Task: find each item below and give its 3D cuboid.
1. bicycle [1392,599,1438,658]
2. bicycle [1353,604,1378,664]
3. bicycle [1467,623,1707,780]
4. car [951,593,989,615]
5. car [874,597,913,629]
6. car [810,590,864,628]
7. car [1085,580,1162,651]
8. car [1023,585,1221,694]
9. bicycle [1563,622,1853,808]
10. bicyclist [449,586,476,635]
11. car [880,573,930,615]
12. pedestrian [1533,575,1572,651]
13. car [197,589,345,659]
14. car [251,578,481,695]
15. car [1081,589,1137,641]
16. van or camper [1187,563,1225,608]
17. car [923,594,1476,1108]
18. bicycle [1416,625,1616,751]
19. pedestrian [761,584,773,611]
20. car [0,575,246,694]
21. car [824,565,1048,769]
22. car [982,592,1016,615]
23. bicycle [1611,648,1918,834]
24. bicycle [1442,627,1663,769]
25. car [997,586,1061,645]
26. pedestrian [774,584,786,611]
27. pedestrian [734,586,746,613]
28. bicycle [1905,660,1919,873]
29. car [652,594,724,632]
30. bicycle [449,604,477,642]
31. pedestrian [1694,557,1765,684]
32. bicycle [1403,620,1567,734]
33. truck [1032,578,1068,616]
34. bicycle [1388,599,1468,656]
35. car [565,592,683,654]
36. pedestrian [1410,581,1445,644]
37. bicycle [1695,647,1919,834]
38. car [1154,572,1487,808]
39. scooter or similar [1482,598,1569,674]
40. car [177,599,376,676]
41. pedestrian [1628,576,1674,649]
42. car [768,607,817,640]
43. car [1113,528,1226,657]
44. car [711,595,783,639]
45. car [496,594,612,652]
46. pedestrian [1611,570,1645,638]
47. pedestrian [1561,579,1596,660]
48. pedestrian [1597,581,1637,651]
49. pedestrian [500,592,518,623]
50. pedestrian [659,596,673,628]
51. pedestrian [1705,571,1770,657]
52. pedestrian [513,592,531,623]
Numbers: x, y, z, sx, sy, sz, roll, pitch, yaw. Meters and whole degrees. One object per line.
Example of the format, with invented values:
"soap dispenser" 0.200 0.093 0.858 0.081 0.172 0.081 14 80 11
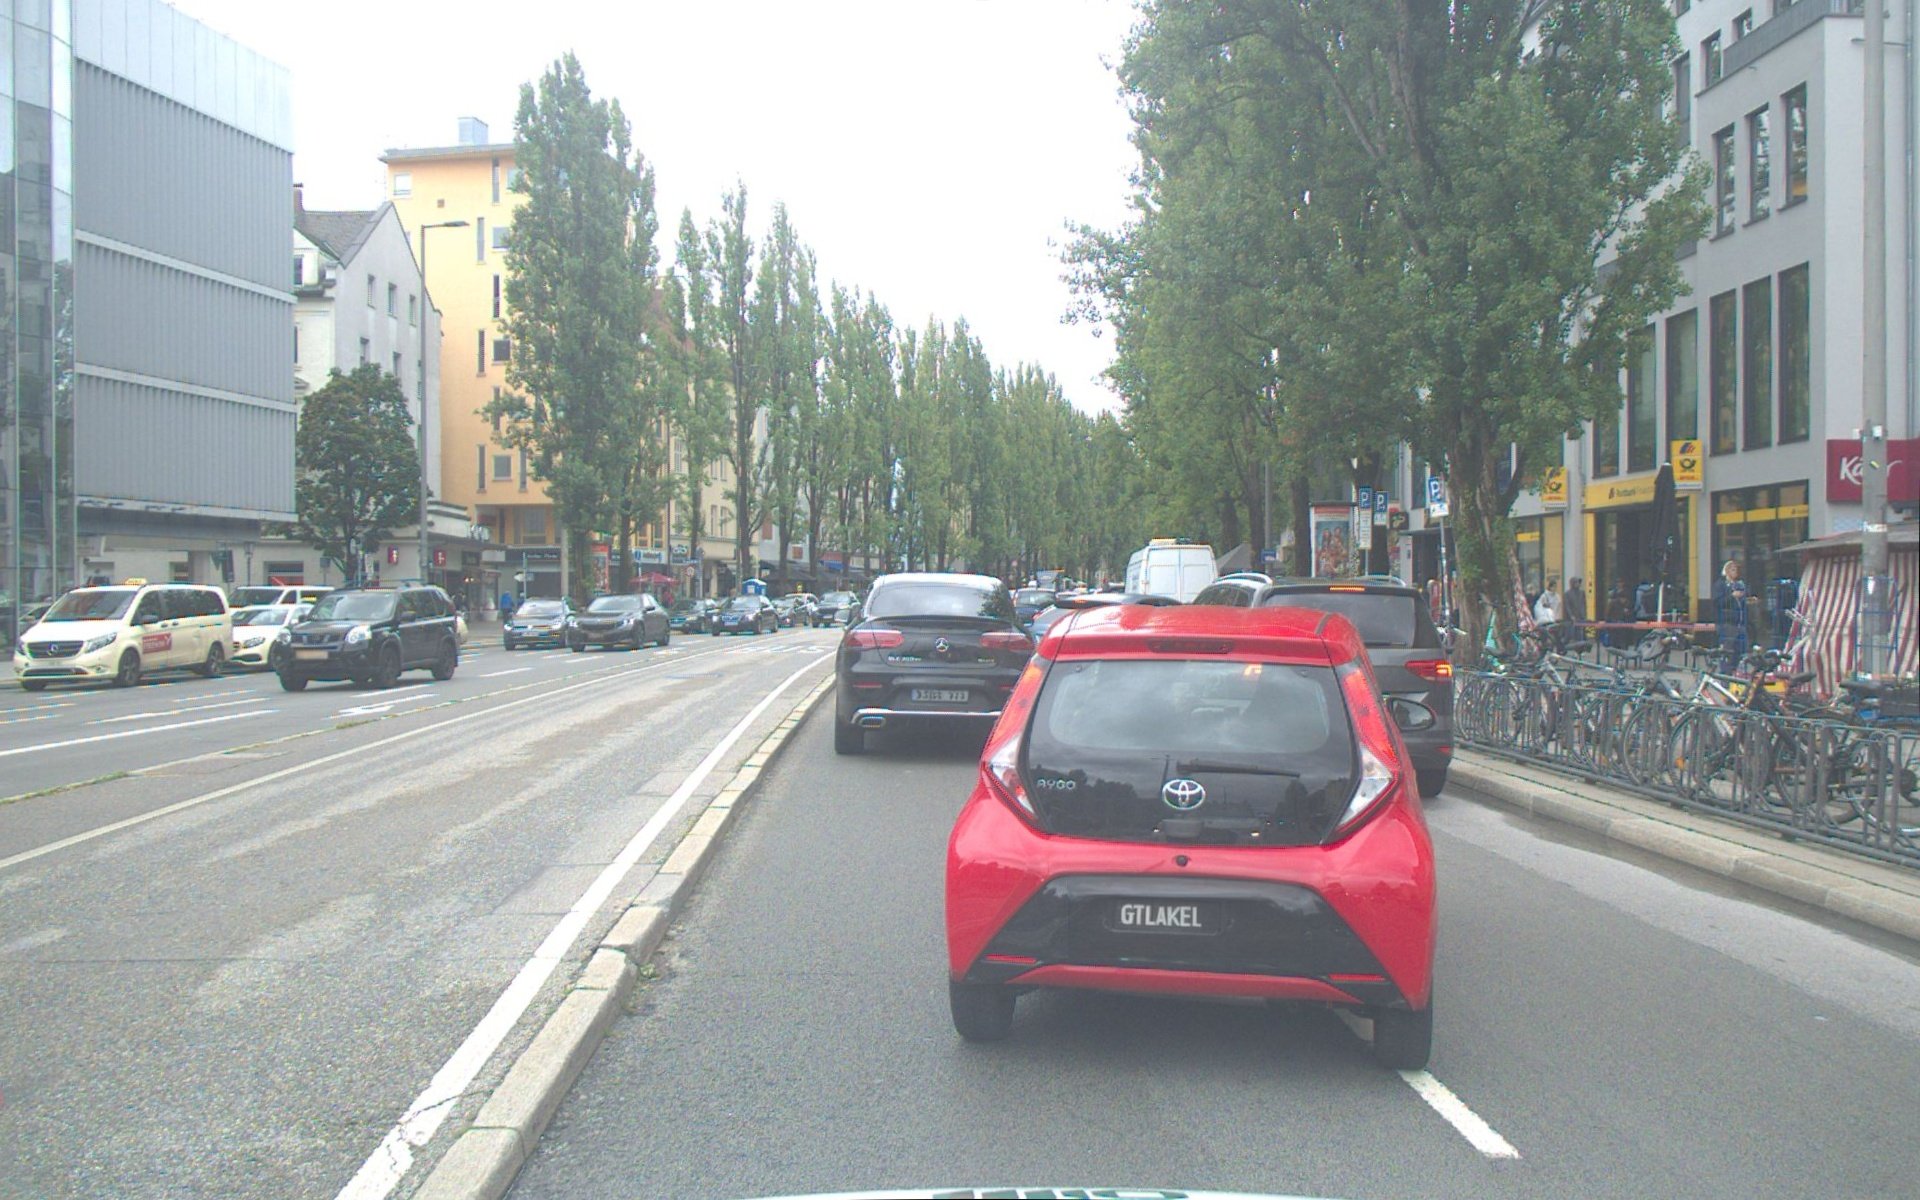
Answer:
"bicycle" 9.369 0.571 34.084 0.468 1.180 1.633 0 0 -1
"bicycle" 8.311 0.674 33.842 0.467 1.180 1.826 0 0 15
"bicycle" 5.259 0.818 13.935 1.767 1.124 0.544 4 2 37
"car" 0.730 0.267 114.426 1.761 1.419 4.695 -1 0 11
"car" -3.615 0.700 90.755 1.780 1.572 4.001 -3 0 2
"car" -5.667 0.391 76.575 1.952 1.649 4.415 -2 0 2
"car" 4.490 0.400 46.051 1.889 1.836 4.781 1 0 3
"car" 2.476 0.564 24.675 1.517 1.486 3.423 1 0 34
"bicycle" 5.325 0.778 11.835 1.767 1.124 0.544 4 2 37
"bicyclist" -16.491 0.333 54.839 0.491 1.620 0.835 -1 0 11
"car" -3.620 -0.409 110.746 2.123 2.651 6.069 -1 0 10
"pedestrian" 12.774 0.272 35.656 0.628 1.611 0.635 -1 0 6
"car" -21.408 0.701 51.652 1.951 2.049 5.116 -1 0 7
"car" -9.995 0.551 28.273 1.951 1.808 4.602 -1 0 4
"car" 5.132 0.497 57.233 1.691 1.716 4.409 0 0 2
"van or camper" 17.740 -1.043 119.228 2.407 3.166 4.720 -1 0 12
"car" 1.061 0.744 6.743 1.629 1.471 3.599 1 0 12
"bicycle" 5.541 0.850 16.540 1.767 1.072 0.544 4 2 37
"pedestrian" -13.553 -0.192 116.261 0.624 1.894 0.648 -1 0 11
"car" -15.926 0.596 31.796 1.952 2.049 5.322 -1 0 1
"car" -0.231 0.546 16.090 1.842 1.670 4.582 -1 0 -1
"car" 2.954 0.273 124.321 1.869 1.631 4.359 -1 0 10
"bicycle" 5.363 0.906 11.113 1.770 1.028 0.384 5 2 41
"bicycle" 5.221 0.835 14.642 1.767 1.072 0.366 4 2 37
"car" 1.982 0.447 48.615 1.723 1.648 3.747 1 0 0
"pedestrian" -12.644 -0.181 116.251 0.624 1.894 0.648 -1 0 11
"pedestrian" -14.249 -0.015 107.133 0.624 1.729 0.648 -1 0 11
"bicycle" 5.444 0.865 7.670 1.767 1.028 0.384 4 2 37
"car" -10.792 0.491 65.876 1.692 1.433 4.691 -1 0 5
"bicycle" -16.464 0.754 54.799 0.360 1.222 1.155 -1 0 12
"pedestrian" 11.310 0.297 24.318 0.776 1.827 0.572 1 -1 4
"bicycle" 5.635 0.802 17.799 1.545 1.072 0.544 4 2 37
"truck" 8.351 -0.301 152.651 2.242 3.381 7.163 -2 0 11
"bicycle" 9.996 0.584 35.342 1.593 1.180 0.706 0 0 11
"car" -9.128 0.587 45.353 1.952 1.534 5.024 -1 0 3
"pedestrian" 13.146 0.354 46.513 0.707 1.754 0.737 -1 0 36
"bicycle" 5.638 0.882 10.398 1.767 1.028 0.384 4 2 37
"car" 2.772 0.621 13.661 1.725 1.642 4.182 0 0 -2
"scooter or similar" 9.519 0.600 27.836 1.443 1.228 0.398 -1 0 -20
"car" -15.447 0.791 37.740 1.935 1.579 5.090 -1 0 7
"pedestrian" 15.504 0.271 37.110 0.677 1.612 0.772 -1 0 -2
"car" -8.226 1.126 81.453 1.746 1.491 4.002 -1 0 4
"car" 4.863 -0.151 39.099 1.953 2.789 5.554 1 0 0
"car" -7.876 0.595 61.509 1.797 1.513 4.737 -1 0 3
"car" -11.933 0.631 48.946 1.918 1.573 4.950 -1 0 3
"pedestrian" 16.705 0.097 41.360 0.676 1.678 0.799 -1 0 14
"pedestrian" 13.446 0.425 35.974 0.567 1.731 0.597 -1 0 6
"pedestrian" 14.349 0.355 36.121 0.636 1.502 0.757 0 -1 36
"pedestrian" -21.298 0.354 78.073 0.620 1.460 0.778 -1 0 -2
"pedestrian" -16.816 0.683 94.536 0.527 1.777 0.756 0 0 11
"pedestrian" 15.310 0.262 32.593 0.783 1.665 1.023 -1 0 -2
"pedestrian" -20.693 0.364 78.116 0.620 1.460 0.778 -1 0 -2
